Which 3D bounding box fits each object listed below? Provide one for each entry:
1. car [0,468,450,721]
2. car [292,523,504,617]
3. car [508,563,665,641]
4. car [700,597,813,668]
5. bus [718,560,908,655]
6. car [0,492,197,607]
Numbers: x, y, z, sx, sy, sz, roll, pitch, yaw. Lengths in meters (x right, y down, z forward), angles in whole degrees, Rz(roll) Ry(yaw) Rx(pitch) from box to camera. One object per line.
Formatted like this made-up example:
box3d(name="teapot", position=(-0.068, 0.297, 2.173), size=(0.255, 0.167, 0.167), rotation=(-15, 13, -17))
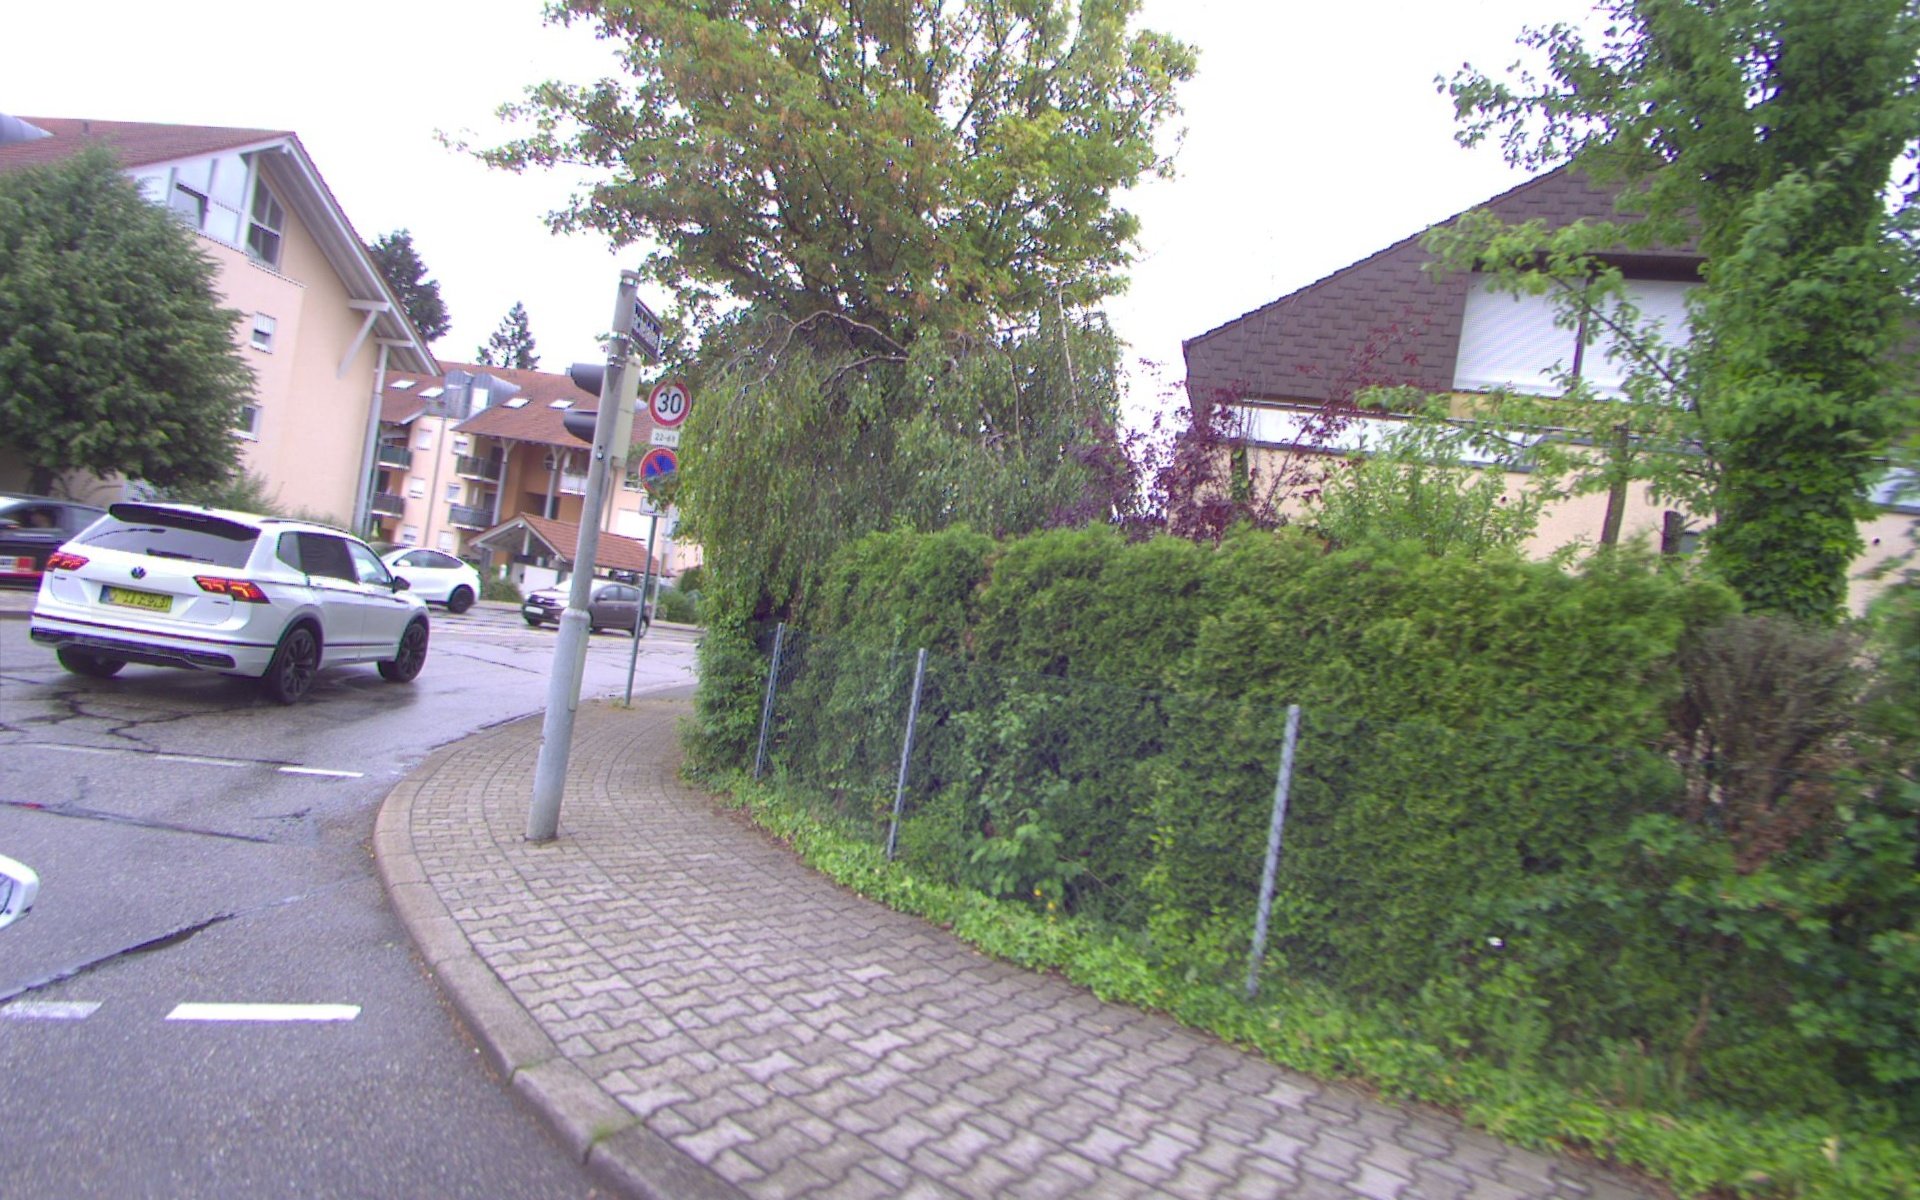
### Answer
box3d(name="car", position=(-7.084, -0.023, 10.234), size=(1.895, 1.742, 4.259), rotation=(9, -1, -8))
box3d(name="car", position=(-14.524, -0.700, 26.362), size=(1.917, 1.745, 4.605), rotation=(9, -1, 18))
box3d(name="car", position=(-10.325, 0.104, 28.134), size=(1.795, 1.502, 3.944), rotation=(8, -4, 21))
box3d(name="car", position=(-5.508, 0.961, 27.753), size=(1.738, 1.525, 4.008), rotation=(9, -3, 6))
box3d(name="bus", position=(-6.229, 0.474, 44.540), size=(2.514, 3.034, 9.186), rotation=(7, -2, 34))
box3d(name="car", position=(-13.684, -0.818, 14.348), size=(1.788, 1.424, 4.207), rotation=(8, -1, 12))
